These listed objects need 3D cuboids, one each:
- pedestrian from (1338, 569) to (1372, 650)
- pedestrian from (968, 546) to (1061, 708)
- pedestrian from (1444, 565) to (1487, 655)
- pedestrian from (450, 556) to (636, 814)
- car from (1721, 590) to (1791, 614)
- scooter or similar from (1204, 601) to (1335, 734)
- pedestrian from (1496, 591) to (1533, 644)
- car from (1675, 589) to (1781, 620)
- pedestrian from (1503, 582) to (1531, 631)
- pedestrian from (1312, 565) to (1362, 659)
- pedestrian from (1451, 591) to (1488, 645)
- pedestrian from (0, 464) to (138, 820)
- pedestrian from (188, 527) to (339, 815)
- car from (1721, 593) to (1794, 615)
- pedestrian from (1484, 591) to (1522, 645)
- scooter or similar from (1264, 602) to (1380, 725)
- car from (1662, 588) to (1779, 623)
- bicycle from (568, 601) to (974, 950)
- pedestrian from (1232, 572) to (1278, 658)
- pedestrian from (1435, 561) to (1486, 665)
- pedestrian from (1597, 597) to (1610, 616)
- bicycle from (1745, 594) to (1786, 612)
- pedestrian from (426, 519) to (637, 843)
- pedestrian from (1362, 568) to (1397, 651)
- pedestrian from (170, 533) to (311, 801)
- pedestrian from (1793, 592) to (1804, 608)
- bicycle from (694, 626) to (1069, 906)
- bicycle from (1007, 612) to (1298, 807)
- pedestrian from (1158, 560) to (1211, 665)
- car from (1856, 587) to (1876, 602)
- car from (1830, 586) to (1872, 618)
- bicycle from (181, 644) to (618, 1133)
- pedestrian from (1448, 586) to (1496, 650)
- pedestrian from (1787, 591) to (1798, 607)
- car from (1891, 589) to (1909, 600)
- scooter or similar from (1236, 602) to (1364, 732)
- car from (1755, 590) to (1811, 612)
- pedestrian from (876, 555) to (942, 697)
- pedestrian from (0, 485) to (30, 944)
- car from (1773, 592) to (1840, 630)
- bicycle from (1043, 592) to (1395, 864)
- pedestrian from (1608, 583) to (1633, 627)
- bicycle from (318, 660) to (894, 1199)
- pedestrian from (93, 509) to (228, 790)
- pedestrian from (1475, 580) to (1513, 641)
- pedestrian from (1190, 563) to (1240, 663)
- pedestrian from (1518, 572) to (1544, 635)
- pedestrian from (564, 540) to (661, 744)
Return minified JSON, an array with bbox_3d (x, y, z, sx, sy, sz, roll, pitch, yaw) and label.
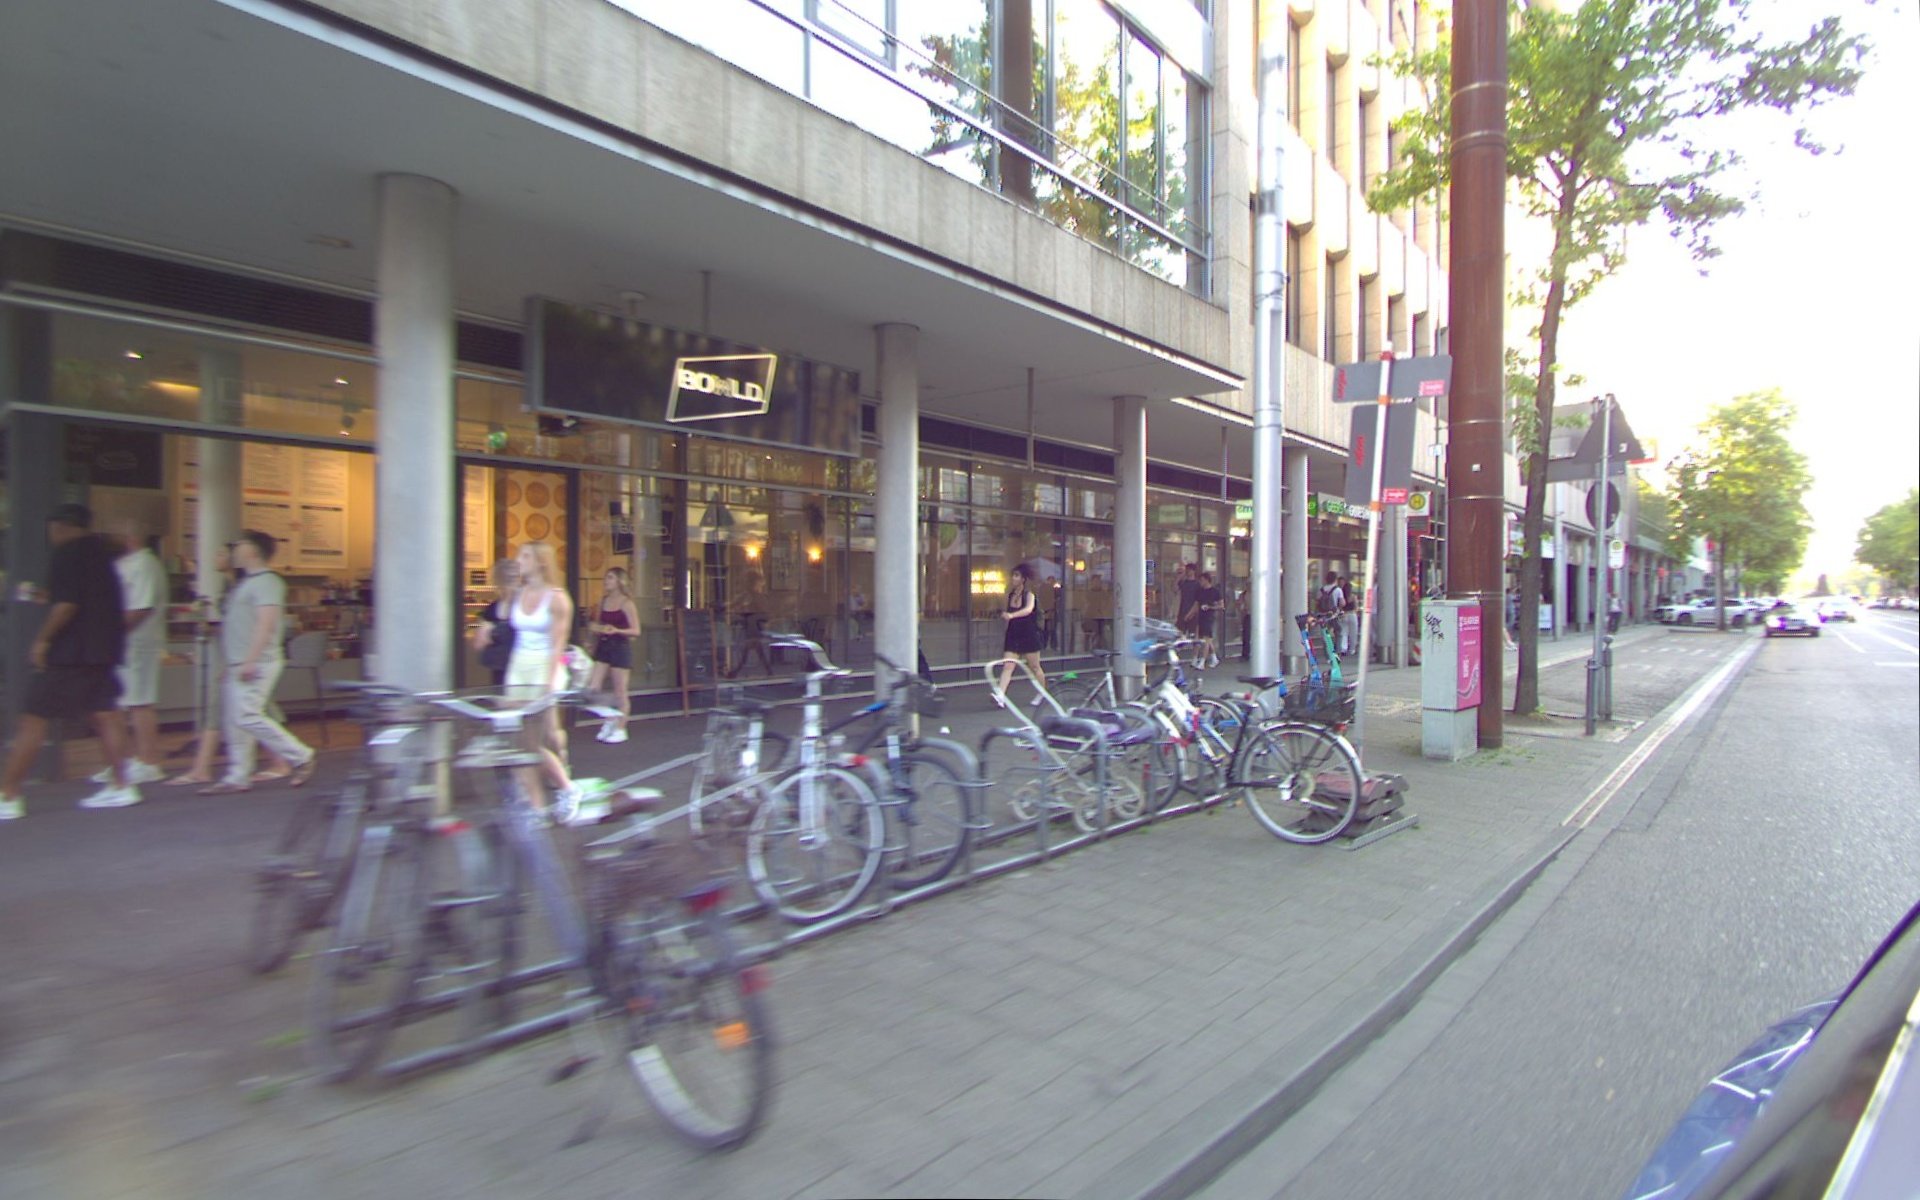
[{"bbox_3d":[9.046,0.205,23.156,0.538,1.829,0.595,1,1,40],"label":"pedestrian"},{"bbox_3d":[0.631,0.289,11.753,0.772,1.794,0.763,1,1,40],"label":"pedestrian"},{"bbox_3d":[10.727,0.194,21.462,0.639,1.862,0.657,1,1,42],"label":"pedestrian"},{"bbox_3d":[-2.710,0.501,6.631,0.795,1.555,0.805,1,1,21],"label":"pedestrian"},{"bbox_3d":[64.321,0.172,81.853,3.945,1.809,1.854,-2,-2,18],"label":"car"},{"bbox_3d":[3.056,0.661,10.020,1.166,1.267,0.394,1,0,-10],"label":"scooter or similar"},{"bbox_3d":[14.105,0.441,25.738,0.718,1.331,0.516,-1,0,43],"label":"pedestrian"},{"bbox_3d":[45.333,0.268,59.808,4.558,1.607,1.915,2,1,7],"label":"car"},{"bbox_3d":[19.344,0.215,35.143,0.687,1.682,0.711,1,1,42],"label":"pedestrian"},{"bbox_3d":[7.642,0.225,20.502,0.668,1.862,0.867,1,1,41],"label":"pedestrian"},{"bbox_3d":[13.016,0.454,25.845,0.718,1.331,0.524,-1,0,43],"label":"pedestrian"},{"bbox_3d":[-5.592,0.231,6.191,0.686,2.039,0.771,1,1,41],"label":"pedestrian"},{"bbox_3d":[-4.701,0.437,6.833,0.662,1.809,0.708,1,1,41],"label":"pedestrian"},{"bbox_3d":[61.521,0.359,78.128,3.937,1.530,1.858,-2,-1,12],"label":"car"},{"bbox_3d":[13.638,0.448,25.434,0.718,1.331,0.524,-1,0,43],"label":"pedestrian"},{"bbox_3d":[3.938,0.674,11.068,1.098,1.267,0.495,1,0,11],"label":"scooter or similar"},{"bbox_3d":[40.706,0.306,54.255,4.562,1.650,1.913,2,0,10],"label":"car"},{"bbox_3d":[-0.939,0.669,4.723,1.910,1.237,0.753,3,2,37],"label":"bicycle"},{"bbox_3d":[5.894,0.279,20.216,0.648,1.682,0.670,1,1,42],"label":"pedestrian"},{"bbox_3d":[9.226,0.220,18.643,0.668,1.862,0.698,1,1,41],"label":"pedestrian"},{"bbox_3d":[36.511,0.379,57.431,0.623,1.049,0.552,1,1,33],"label":"pedestrian"},{"bbox_3d":[49.799,0.170,62.580,0.718,1.087,1.865,2,-2,-35],"label":"bicycle"},{"bbox_3d":[-2.473,0.417,5.890,0.795,1.716,0.805,1,1,21],"label":"pedestrian"},{"bbox_3d":[9.421,0.203,22.722,0.538,1.829,0.595,1,1,40],"label":"pedestrian"},{"bbox_3d":[-5.200,0.440,7.318,0.662,1.809,0.708,1,1,41],"label":"pedestrian"},{"bbox_3d":[77.917,-0.043,94.015,0.643,1.478,0.645,0,0,25],"label":"pedestrian"},{"bbox_3d":[-0.461,0.745,5.281,1.910,1.091,0.753,3,2,37],"label":"bicycle"},{"bbox_3d":[1.382,0.727,7.516,1.991,1.169,0.716,3,2,37],"label":"bicycle"},{"bbox_3d":[4.196,0.224,18.930,0.686,1.906,0.762,1,1,40],"label":"pedestrian"},{"bbox_3d":[129.099,-0.817,144.226,1.992,2.039,3.940,0,0,41],"label":"car"},{"bbox_3d":[58.088,0.117,66.027,1.992,2.039,3.940,0,0,41],"label":"car"},{"bbox_3d":[-1.980,0.780,3.444,1.849,1.122,0.657,2,1,39],"label":"bicycle"},{"bbox_3d":[11.465,0.388,22.664,0.812,1.398,0.652,-1,0,43],"label":"pedestrian"},{"bbox_3d":[75.960,-0.078,92.303,0.643,1.478,0.645,0,0,25],"label":"pedestrian"},{"bbox_3d":[136.595,-0.803,147.115,1.793,1.529,3.940,1,0,41],"label":"car"},{"bbox_3d":[3.480,0.667,10.419,1.173,1.267,0.392,1,0,12],"label":"scooter or similar"},{"bbox_3d":[73.705,0.062,90.627,3.916,1.809,1.868,-2,-2,-14],"label":"car"},{"bbox_3d":[-0.645,0.312,12.868,0.569,1.753,0.608,1,1,40],"label":"pedestrian"},{"bbox_3d":[-4.166,0.433,3.814,0.763,1.740,0.909,1,1,42],"label":"pedestrian"},{"bbox_3d":[34.799,0.425,41.588,1.794,1.426,4.493,-1,0,44],"label":"car"},{"bbox_3d":[1.518,0.663,6.143,1.910,1.349,0.716,3,2,37],"label":"bicycle"},{"bbox_3d":[24.274,0.190,37.199,0.668,1.608,0.629,-2,-1,41],"label":"pedestrian"},{"bbox_3d":[-1.093,0.810,2.853,1.849,1.122,0.657,2,1,39],"label":"bicycle"},{"bbox_3d":[-5.702,0.318,7.218,0.707,1.871,0.663,0,1,-43],"label":"pedestrian"},{"bbox_3d":[14.306,0.268,27.117,0.724,1.589,0.725,1,1,43],"label":"pedestrian"},{"bbox_3d":[4.648,0.220,18.438,0.581,1.775,0.762,1,1,40],"label":"pedestrian"},{"bbox_3d":[18.096,0.112,32.067,0.577,1.968,0.646,1,1,41],"label":"pedestrian"},{"bbox_3d":[-3.126,0.352,9.105,0.569,1.753,0.608,1,1,40],"label":"pedestrian"}]
